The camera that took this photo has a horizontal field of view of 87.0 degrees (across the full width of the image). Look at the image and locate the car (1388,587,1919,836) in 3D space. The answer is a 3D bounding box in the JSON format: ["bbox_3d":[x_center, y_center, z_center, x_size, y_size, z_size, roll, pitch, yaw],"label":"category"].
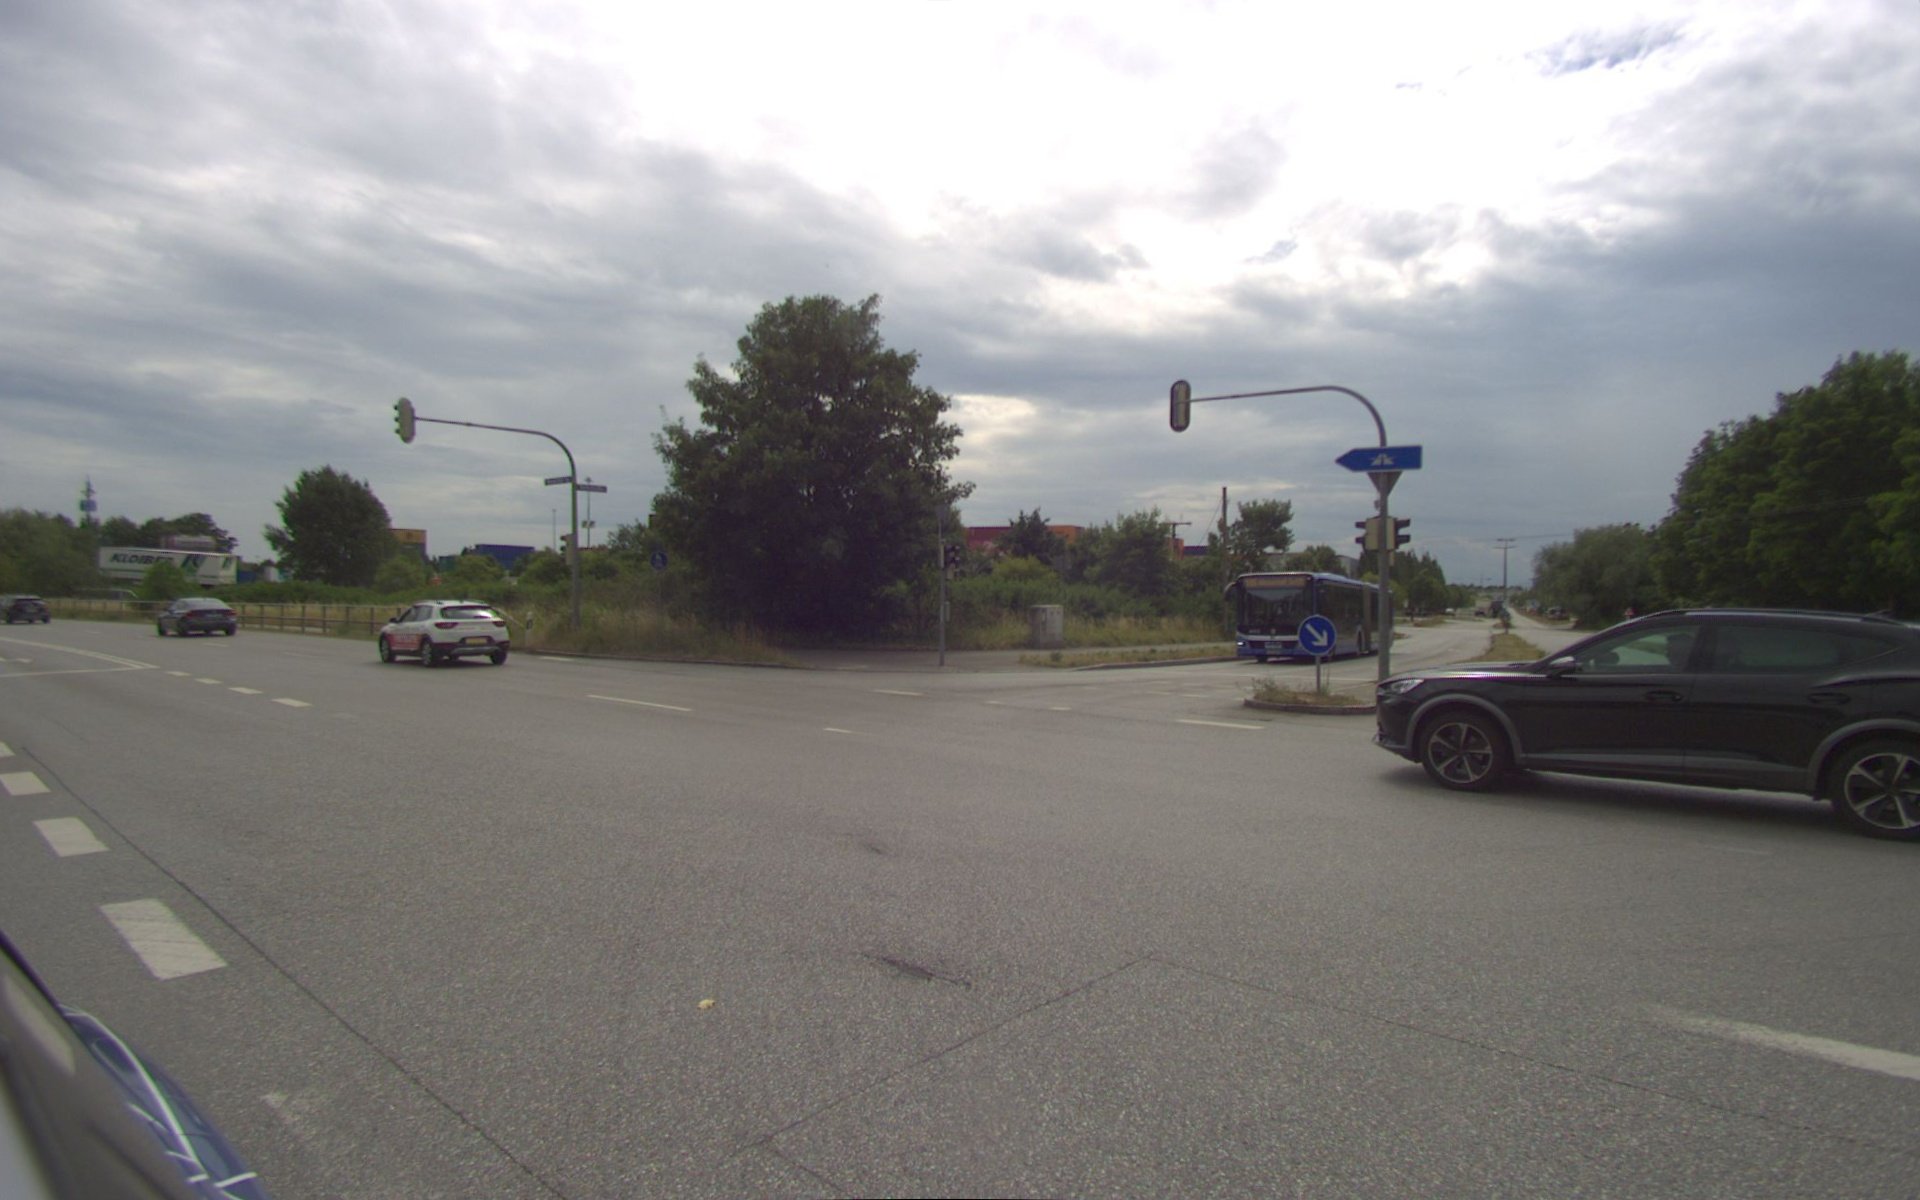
[{"bbox_3d":[5.797,0.729,7.911,4.200,1.595,1.744,0,-1,41],"label":"car"}]

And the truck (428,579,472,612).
[{"bbox_3d":[-67.199,-0.585,133.477,4.773,4.325,2.205,0,1,-15],"label":"truck"}]

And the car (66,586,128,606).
[{"bbox_3d":[-84.148,-0.405,98.736,4.473,1.890,2.004,-1,2,-38],"label":"car"}]

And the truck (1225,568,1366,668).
[{"bbox_3d":[11.778,0.585,34.951,2.877,3.060,7.856,-1,-1,32],"label":"truck"}]

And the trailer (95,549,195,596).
[{"bbox_3d":[-89.128,-3.059,110.735,8.862,5.033,2.806,0,2,2],"label":"trailer"}]

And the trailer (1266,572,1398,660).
[{"bbox_3d":[15.113,0.582,40.420,2.877,3.060,10.639,-1,-1,32],"label":"trailer"}]

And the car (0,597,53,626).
[{"bbox_3d":[-52.352,0.615,56.403,3.990,1.585,1.776,0,0,35],"label":"car"}]

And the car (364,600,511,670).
[{"bbox_3d":[-12.467,0.763,24.030,4.345,1.516,1.711,0,0,42],"label":"car"}]

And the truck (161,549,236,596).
[{"bbox_3d":[-83.098,-3.039,110.515,6.106,5.033,2.803,0,2,2],"label":"truck"}]

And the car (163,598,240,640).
[{"bbox_3d":[-30.633,0.719,40.838,4.905,1.541,1.768,0,1,44],"label":"car"}]
